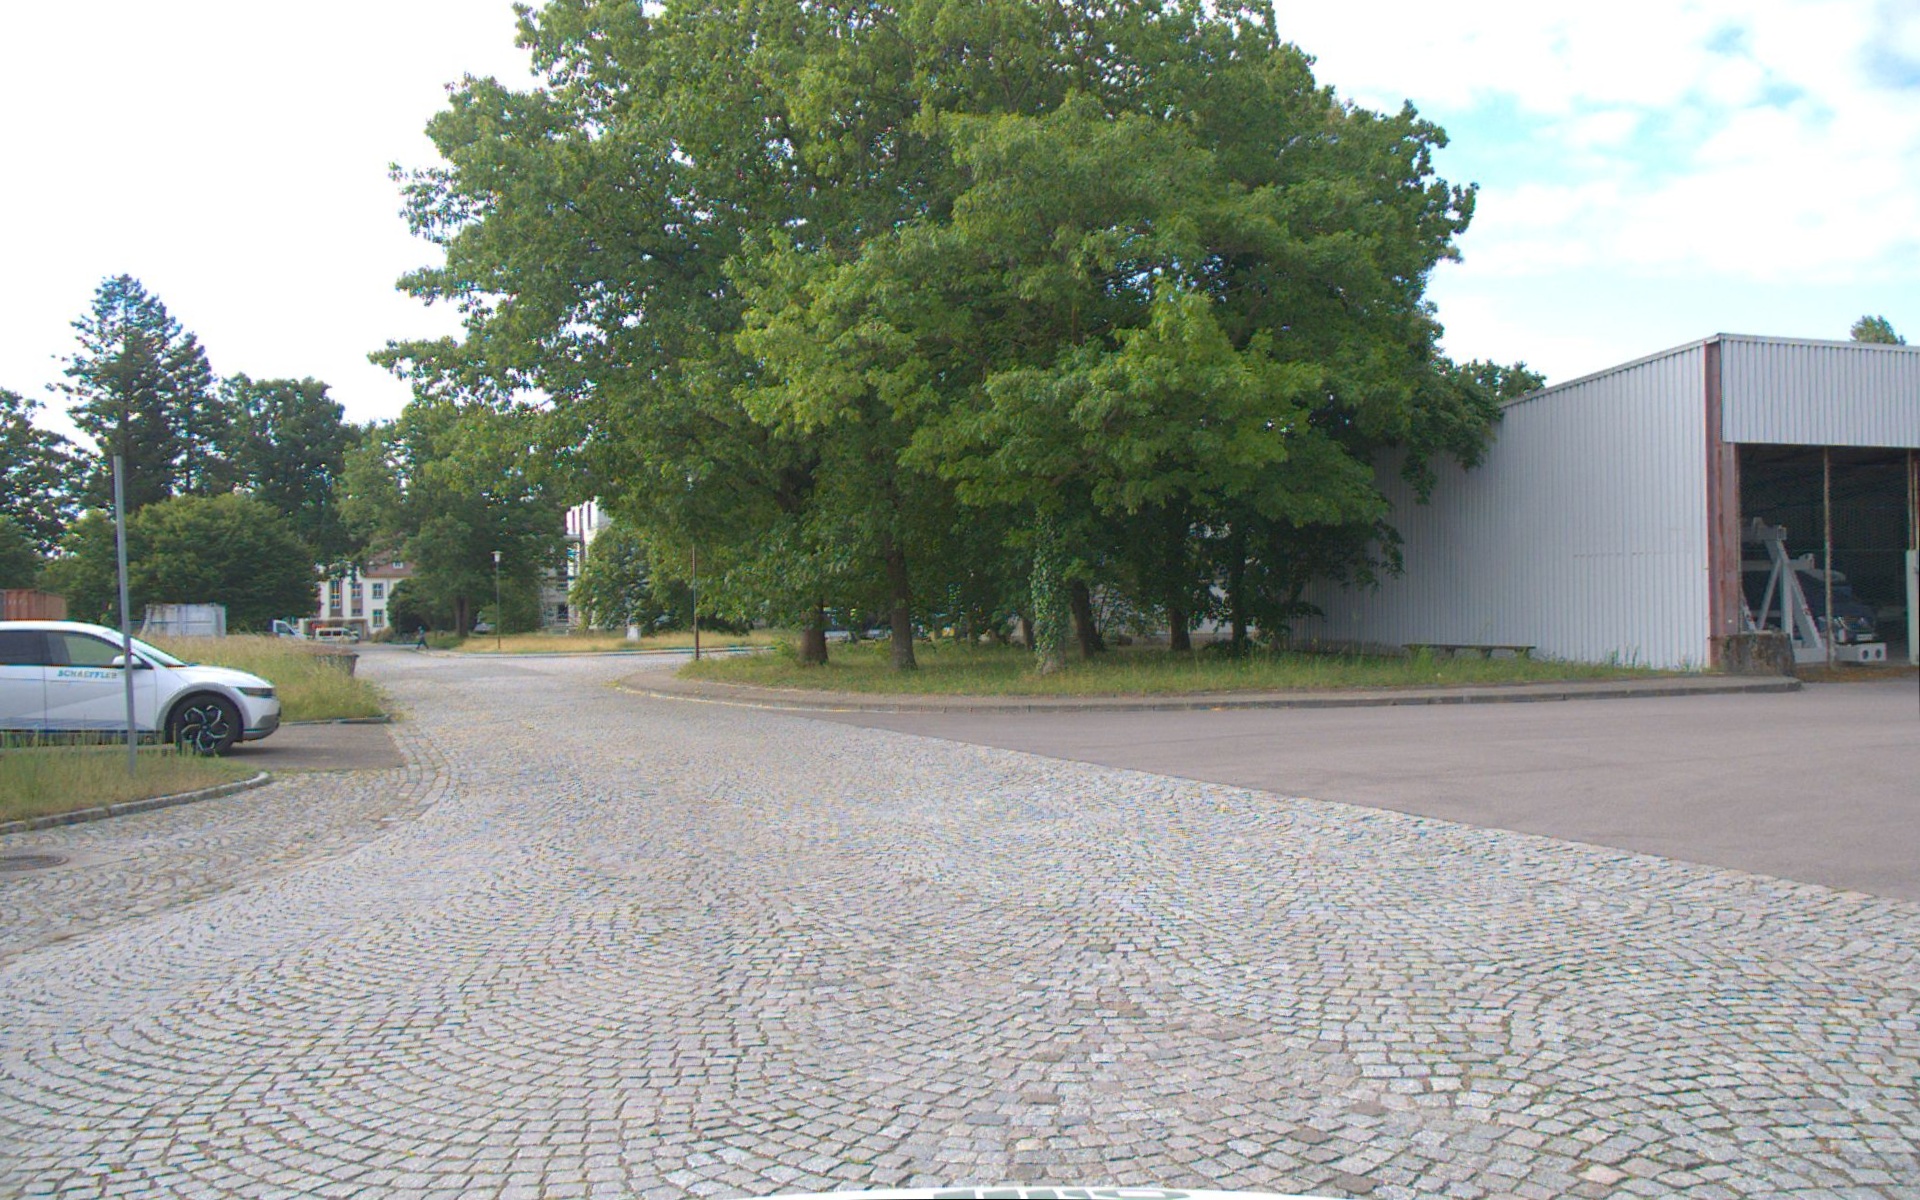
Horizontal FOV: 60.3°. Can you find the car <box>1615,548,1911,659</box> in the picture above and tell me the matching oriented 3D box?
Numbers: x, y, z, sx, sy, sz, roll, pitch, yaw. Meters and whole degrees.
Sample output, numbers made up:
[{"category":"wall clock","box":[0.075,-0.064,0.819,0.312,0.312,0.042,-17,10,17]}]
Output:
[{"category":"car","box":[16.246,0.112,33.850,2.211,2.049,5.299,-1,-1,-23]}]

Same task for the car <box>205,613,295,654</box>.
[{"category":"car","box":[-44.827,2.112,104.526,5.099,2.378,1.986,-1,-1,-23]}]

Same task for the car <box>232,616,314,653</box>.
[{"category":"car","box":[-47.209,2.360,113.812,5.099,2.378,1.986,-1,-1,-23]}]

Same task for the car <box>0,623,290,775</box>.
[{"category":"car","box":[-10.505,1.160,19.805,4.467,1.627,1.988,-2,-1,-20]}]
